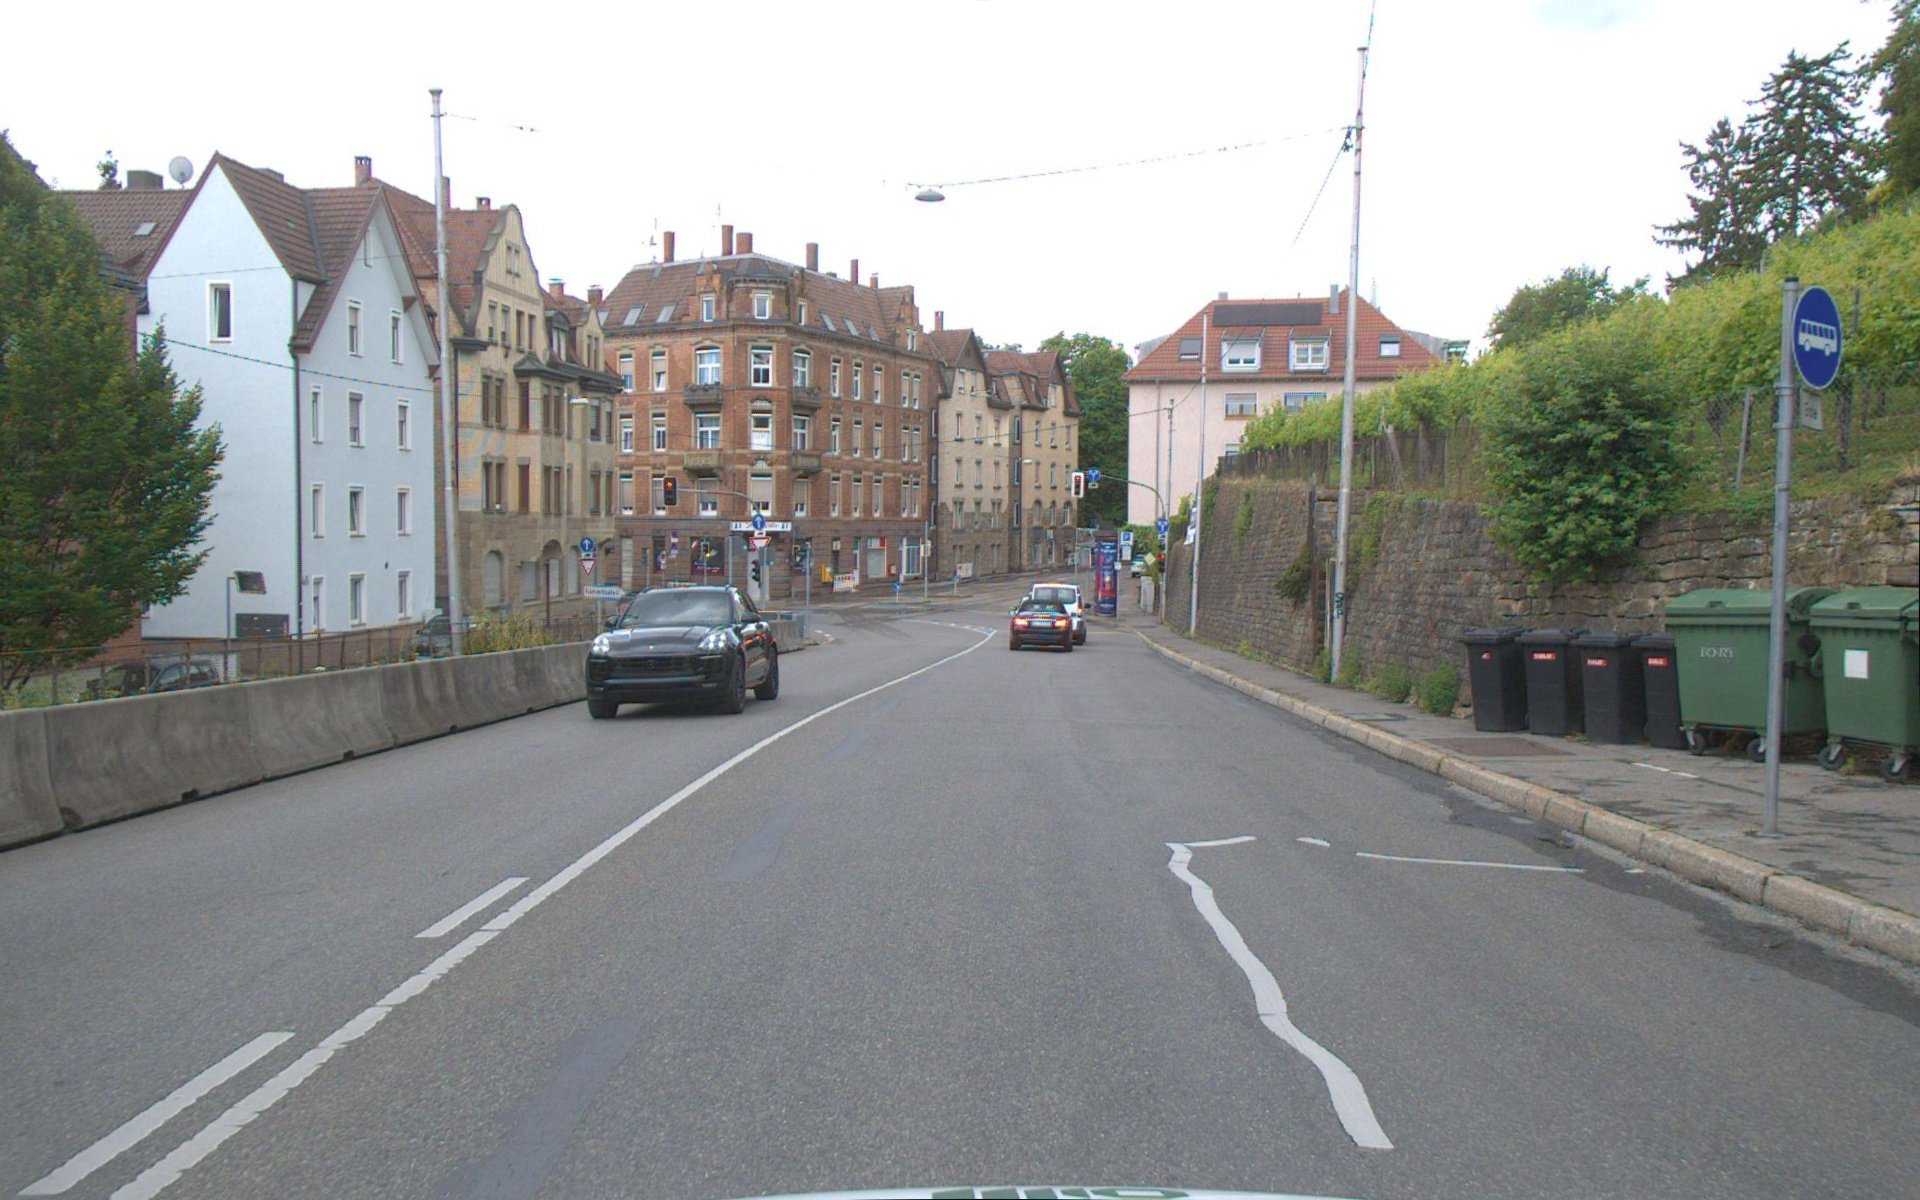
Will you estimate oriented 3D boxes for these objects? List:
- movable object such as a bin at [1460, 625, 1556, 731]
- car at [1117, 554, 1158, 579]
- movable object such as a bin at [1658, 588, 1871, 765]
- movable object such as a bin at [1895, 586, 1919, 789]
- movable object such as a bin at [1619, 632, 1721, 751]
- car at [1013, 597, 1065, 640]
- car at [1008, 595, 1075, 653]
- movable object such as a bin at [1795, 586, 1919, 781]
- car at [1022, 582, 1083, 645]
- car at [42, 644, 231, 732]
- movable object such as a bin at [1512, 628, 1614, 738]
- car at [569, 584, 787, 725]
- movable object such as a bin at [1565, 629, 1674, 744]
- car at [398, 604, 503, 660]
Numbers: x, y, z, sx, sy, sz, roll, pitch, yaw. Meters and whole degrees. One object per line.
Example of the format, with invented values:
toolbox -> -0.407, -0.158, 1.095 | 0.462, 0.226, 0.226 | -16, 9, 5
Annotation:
movable object such as a bin -> 5.809, 0.816, 17.552 | 0.730, 1.077, 0.676 | 0, 0, -16
car -> 13.270, -2.533, 123.580 | 1.805, 1.731, 3.998 | 1, 2, 25
movable object such as a bin -> 7.075, 0.633, 14.618 | 1.030, 1.470, 1.412 | 0, 0, -16
movable object such as a bin -> 7.479, 0.637, 11.723 | 1.026, 1.470, 1.205 | 0, 0, 0
movable object such as a bin -> 6.675, 0.844, 15.565 | 0.698, 1.077, 0.545 | 0, 0, -16
car -> 2.919, 0.651, 60.900 | 1.803, 1.466, 4.002 | 2, 1, 3
car -> 2.319, 0.644, 47.051 | 1.778, 1.455, 4.002 | 2, 1, 3
movable object such as a bin -> 7.418, 0.624, 13.051 | 1.026, 1.470, 1.204 | 0, 0, -3
car -> 3.002, 0.403, 53.756 | 1.869, 1.916, 4.002 | 2, 1, 3
car -> -18.331, 1.915, 37.048 | 1.756, 1.636, 4.218 | -2, 1, 6
movable object such as a bin -> 6.162, 0.831, 16.923 | 0.730, 1.077, 0.676 | 0, 0, -16
car -> -3.592, 0.629, 21.896 | 1.941, 1.602, 4.376 | -2, 1, 2
movable object such as a bin -> 6.431, 0.830, 16.146 | 0.730, 1.077, 0.676 | 0, 0, -16
car -> -16.304, 0.983, 53.108 | 1.756, 1.536, 4.004 | -1, 2, 6
